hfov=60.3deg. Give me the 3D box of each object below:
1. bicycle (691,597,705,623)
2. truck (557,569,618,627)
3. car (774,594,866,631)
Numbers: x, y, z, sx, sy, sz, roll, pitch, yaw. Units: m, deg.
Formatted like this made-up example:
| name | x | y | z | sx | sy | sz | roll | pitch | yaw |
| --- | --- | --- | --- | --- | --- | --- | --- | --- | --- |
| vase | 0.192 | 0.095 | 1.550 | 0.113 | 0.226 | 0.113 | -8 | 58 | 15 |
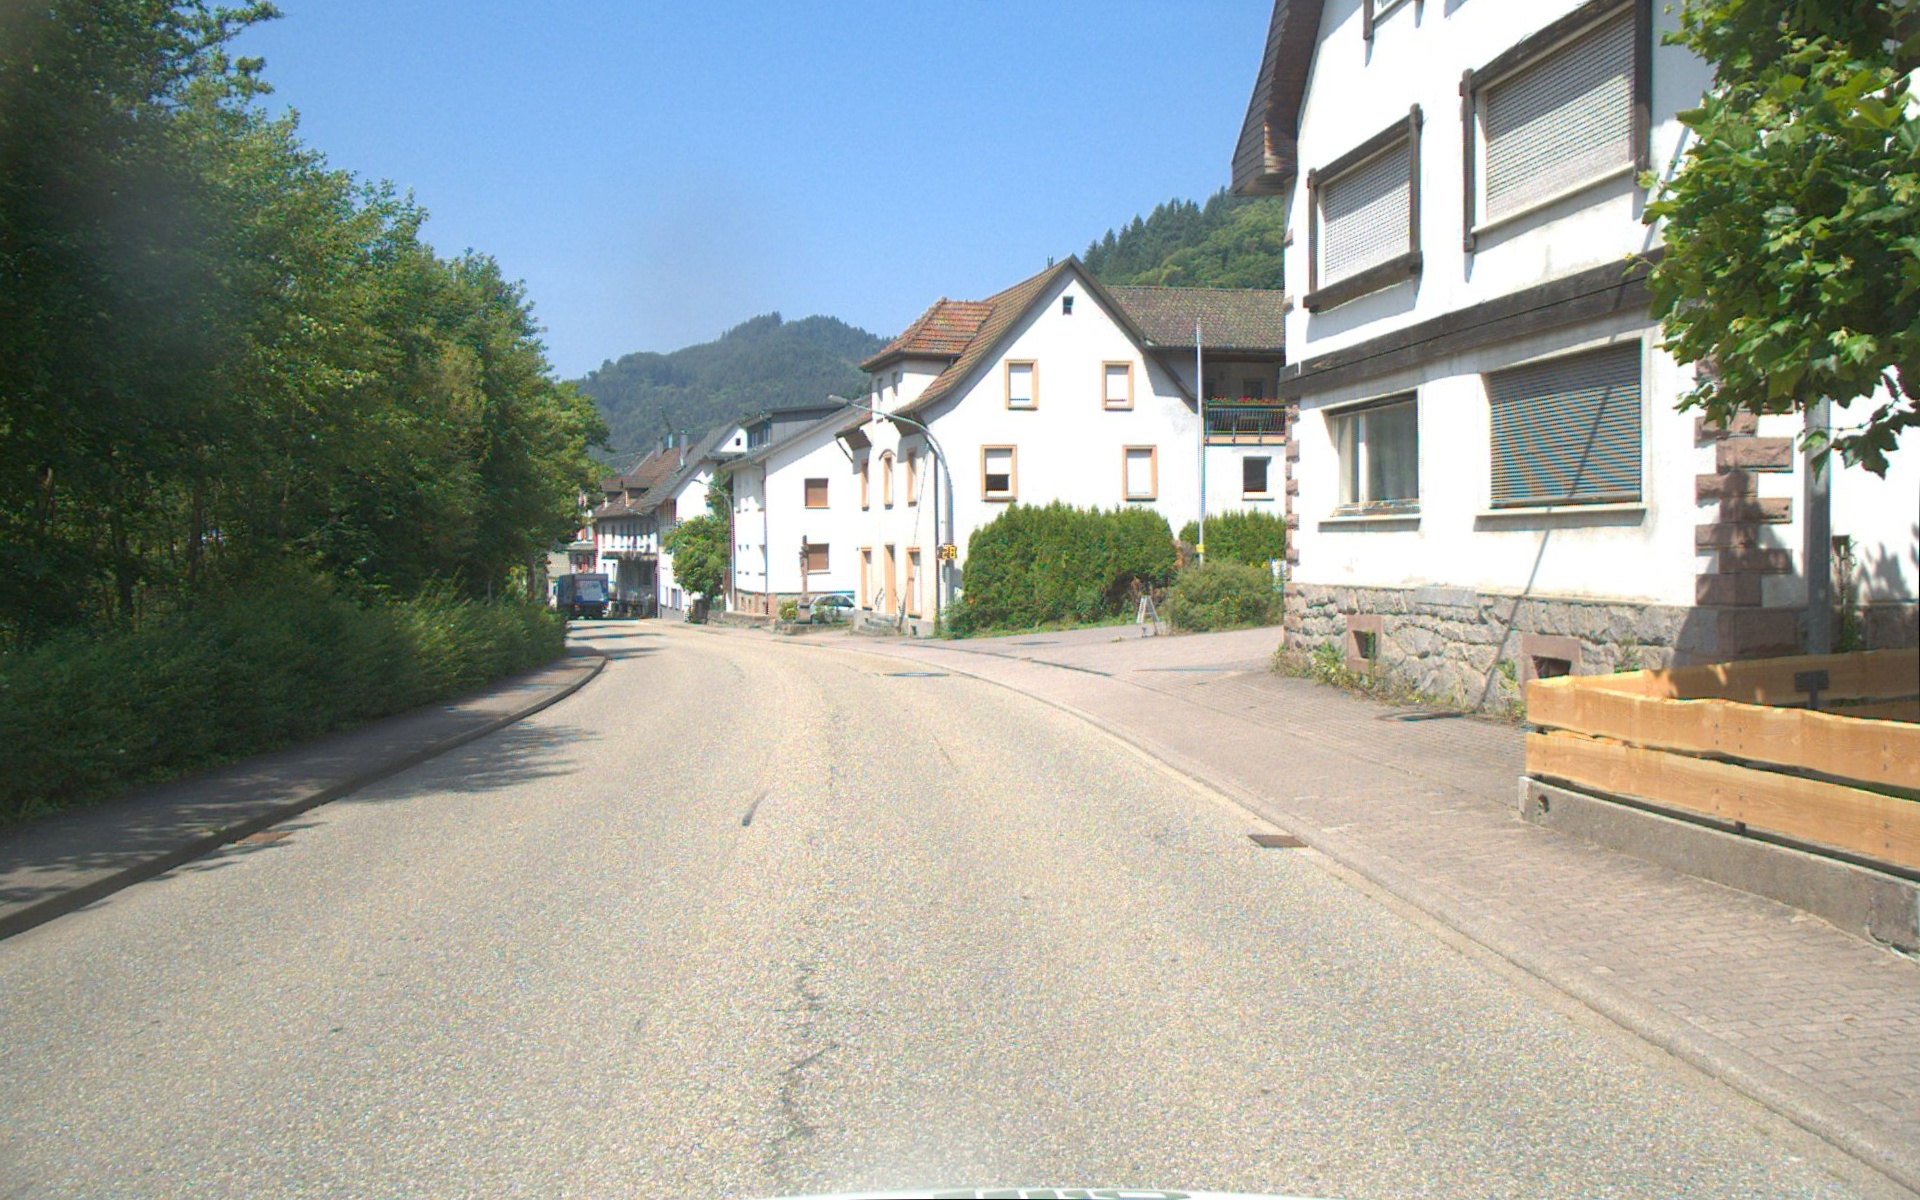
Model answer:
| name | x | y | z | sx | sy | sz | roll | pitch | yaw |
| --- | --- | --- | --- | --- | --- | --- | --- | --- | --- |
| bicycle | -15.192 | 0.568 | 95.855 | 0.418 | 1.420 | 2.267 | -5 | 1 | -15 |
| truck | -28.674 | -0.086 | 127.008 | 3.314 | 3.847 | 8.391 | -5 | 0 | -19 |
| car | -6.107 | 0.557 | 72.073 | 3.693 | 1.452 | 1.607 | -2 | 0 | 29 |
